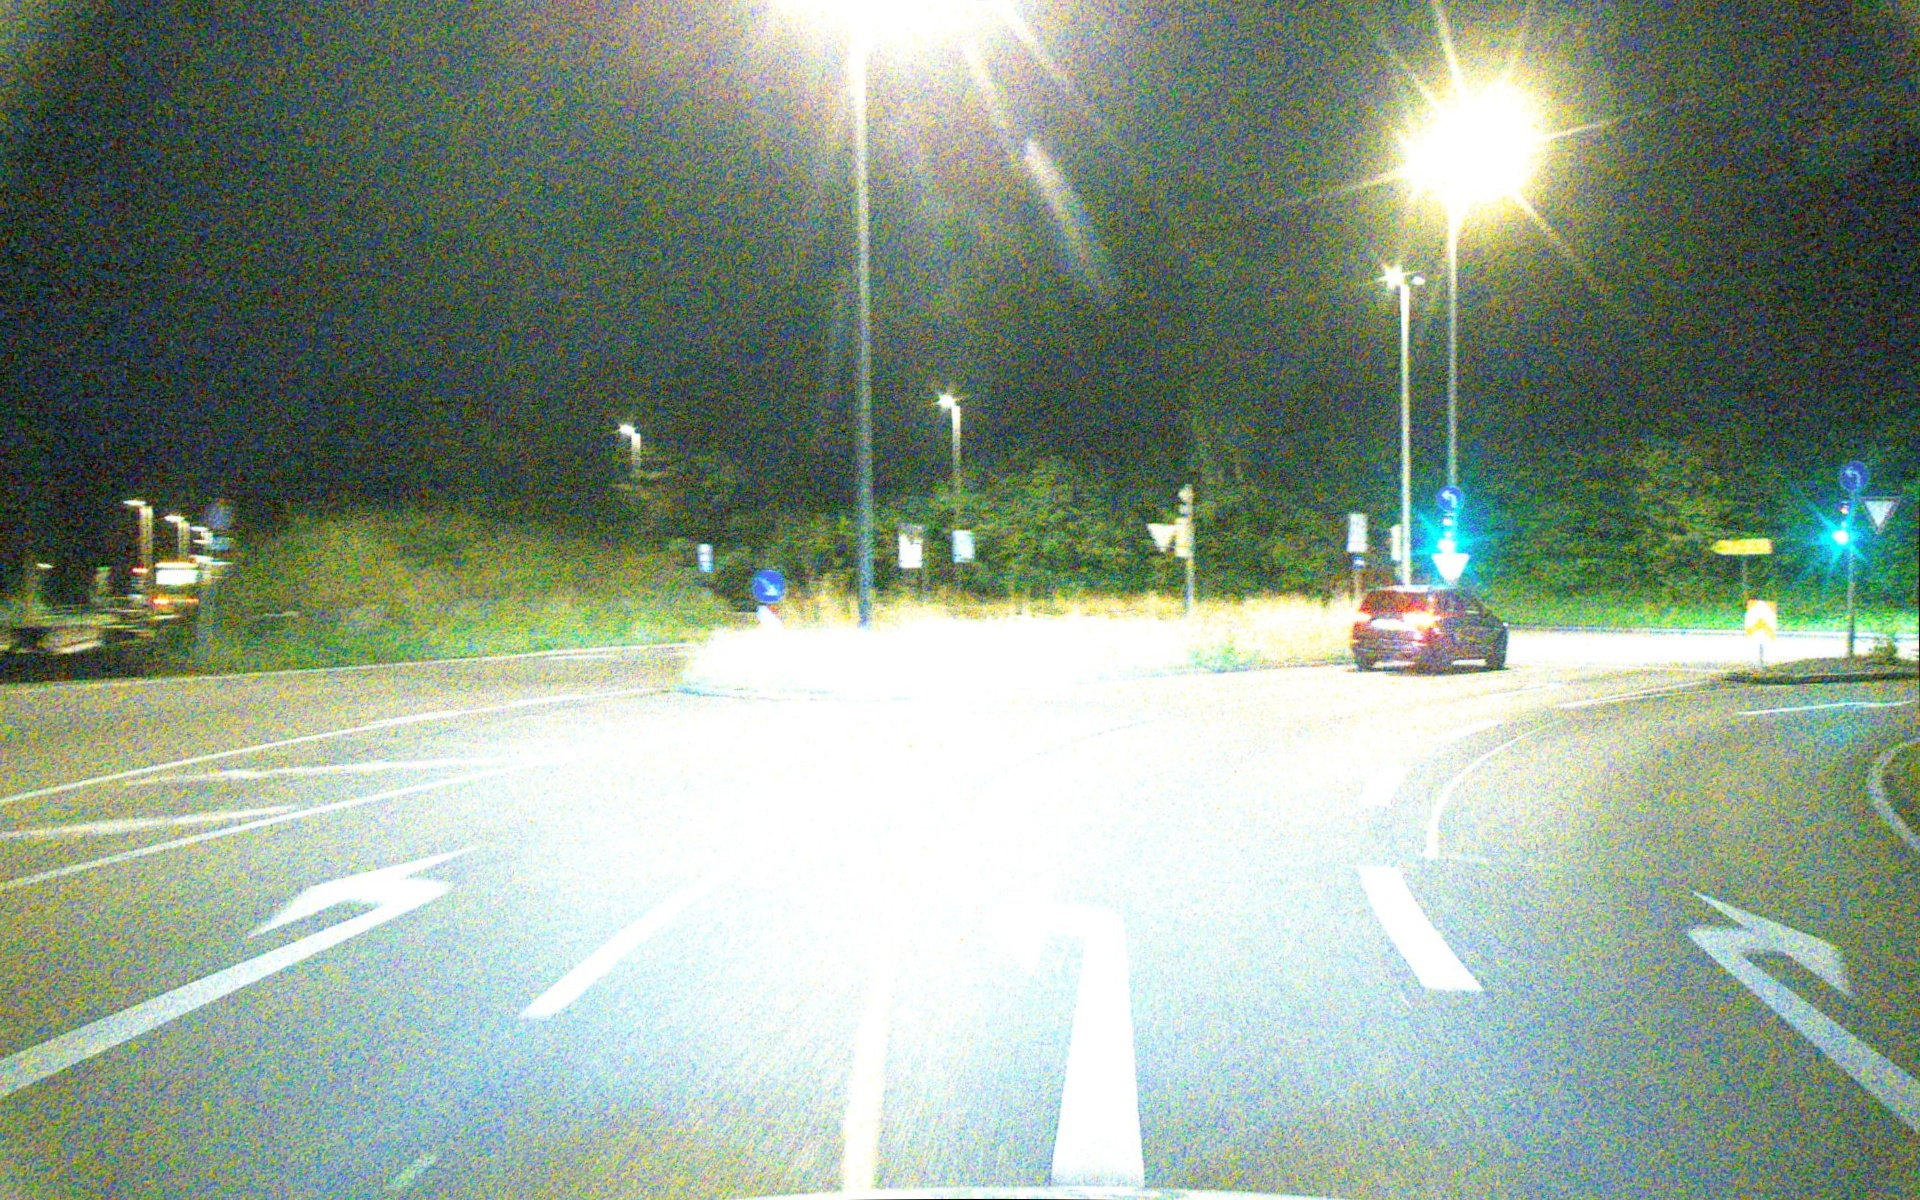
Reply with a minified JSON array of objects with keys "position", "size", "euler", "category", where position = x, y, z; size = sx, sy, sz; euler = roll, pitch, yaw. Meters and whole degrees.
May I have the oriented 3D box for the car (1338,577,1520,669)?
[{"position":[9.092,0.403,31.866],"size":[1.825,1.610,3.983],"euler":[2,2,41],"category":"car"}]
